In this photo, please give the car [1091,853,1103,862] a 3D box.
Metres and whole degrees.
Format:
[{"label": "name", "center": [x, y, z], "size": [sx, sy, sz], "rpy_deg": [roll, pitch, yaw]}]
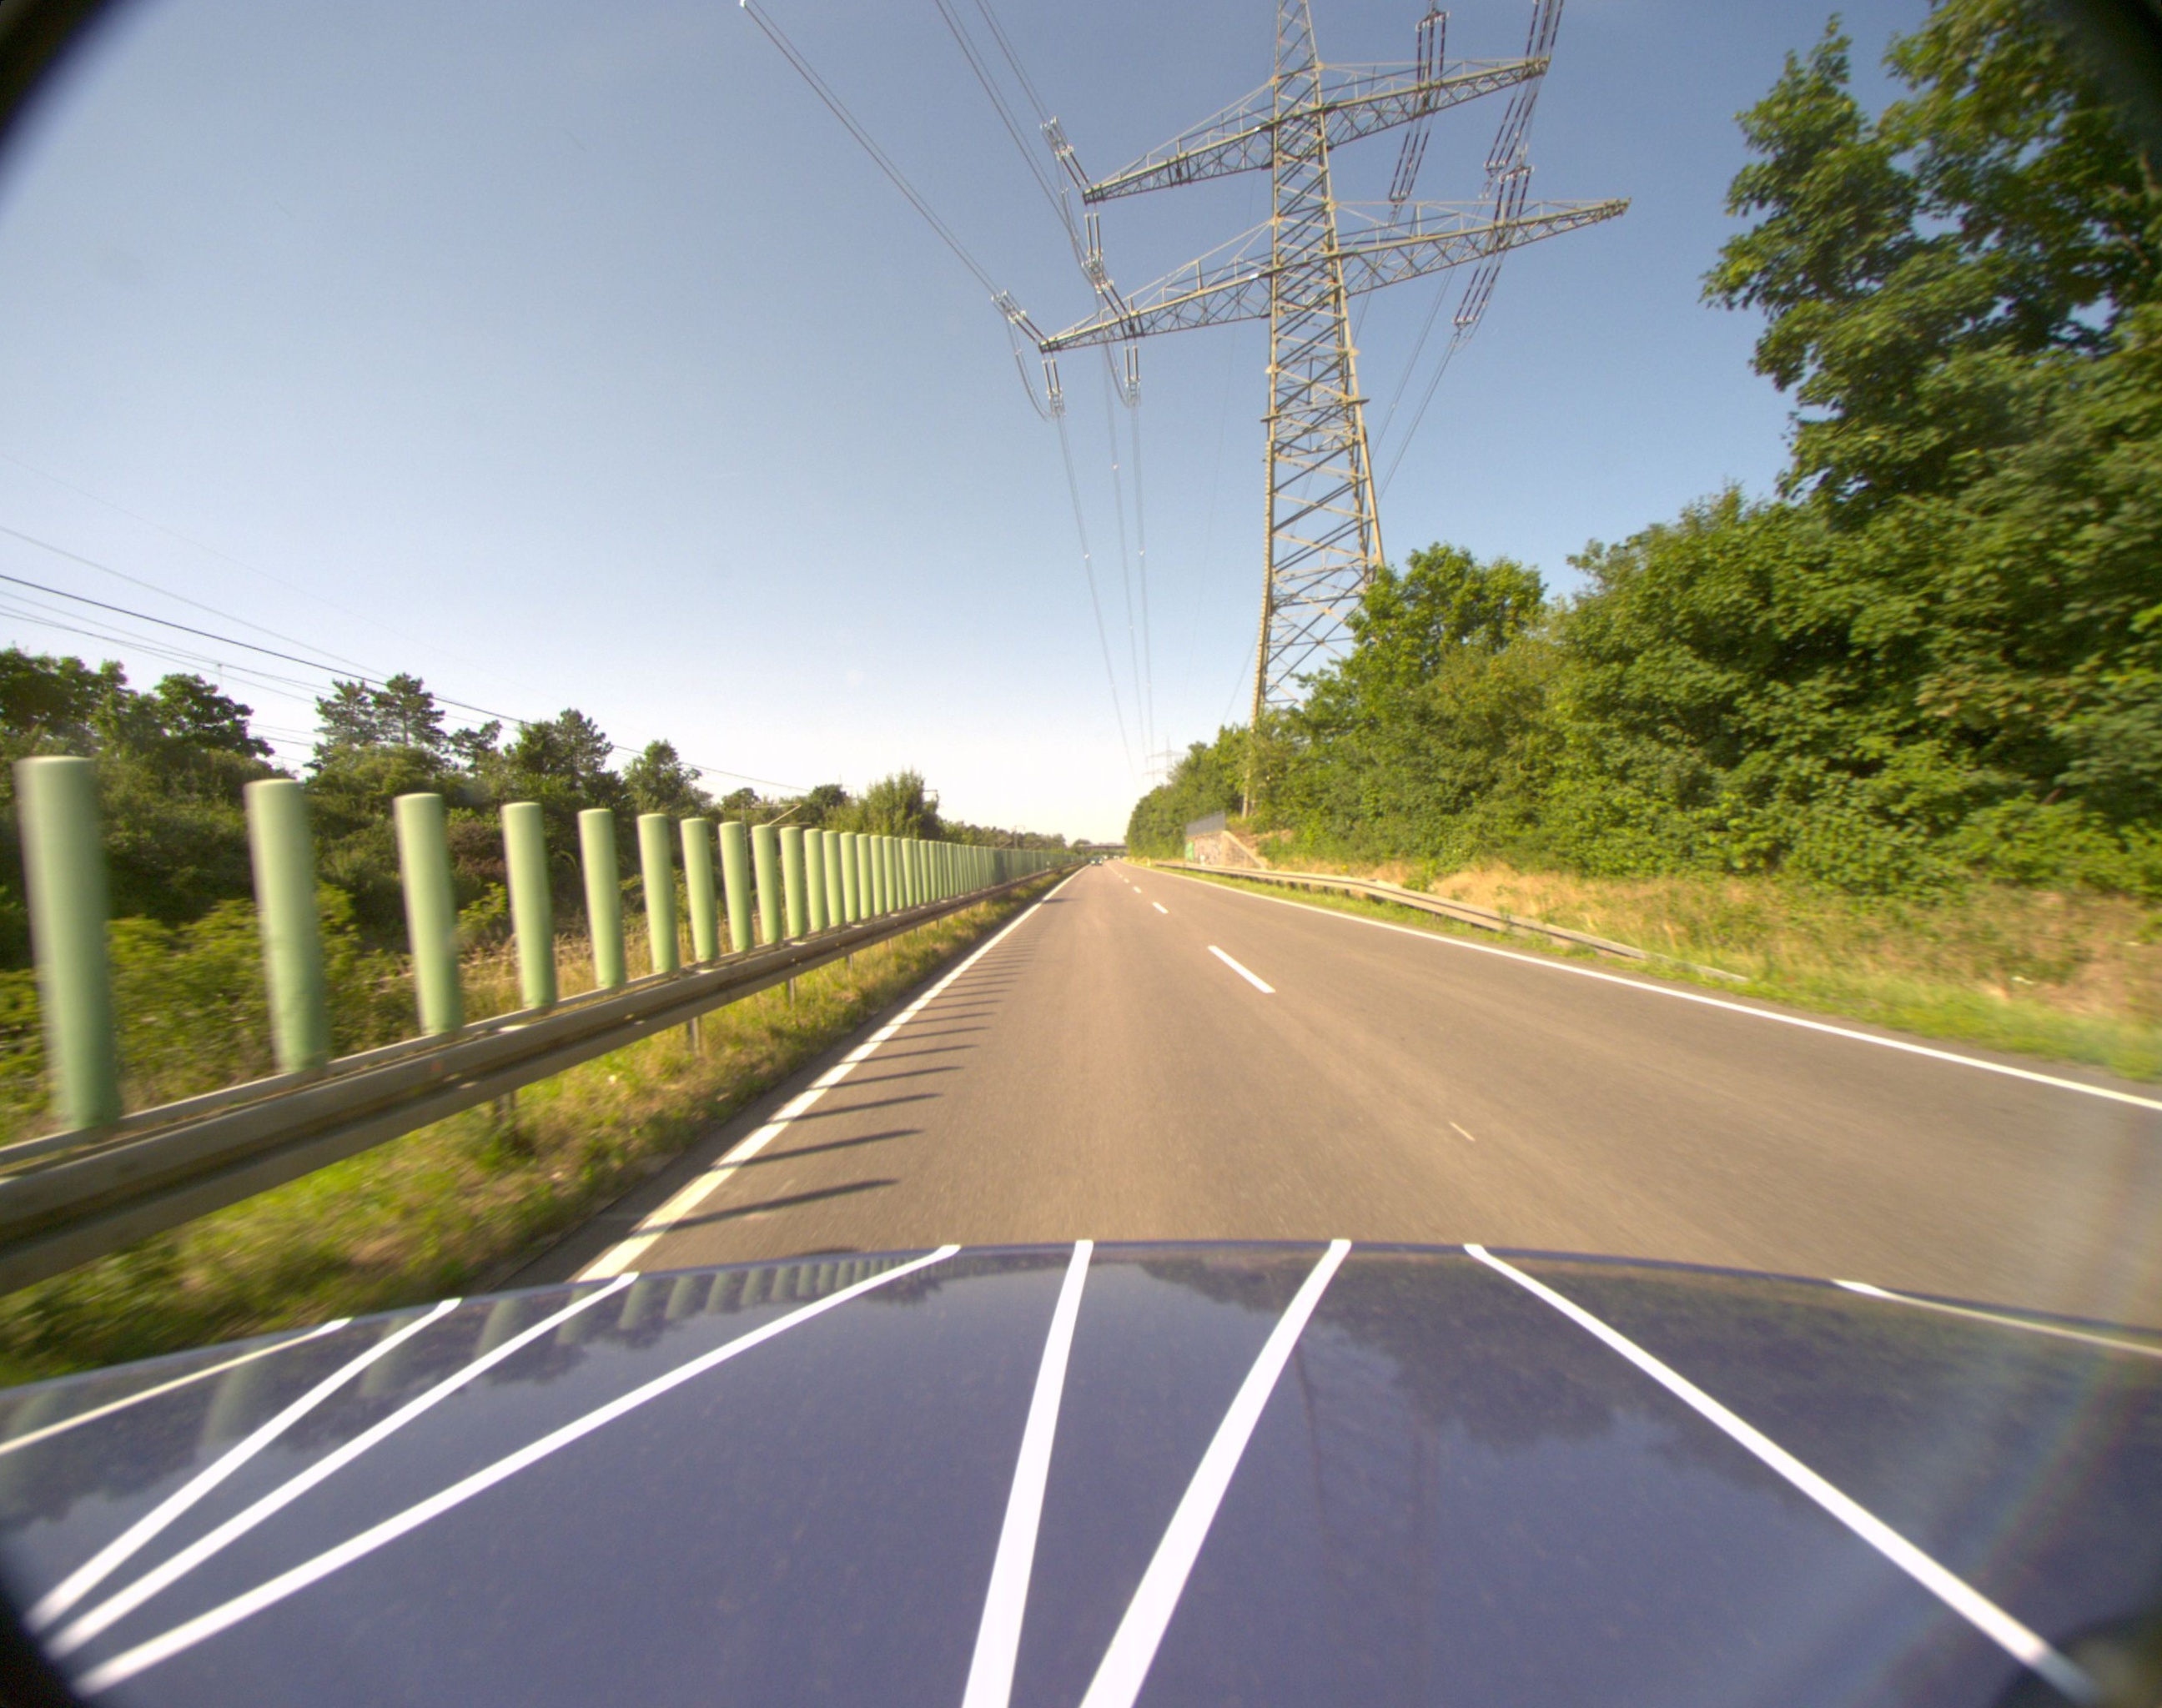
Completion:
[{"label": "car", "center": [2.805, 0.607, 129.657], "size": [1.786, 1.550, 4.001], "rpy_deg": [-2, 0, 4]}]
